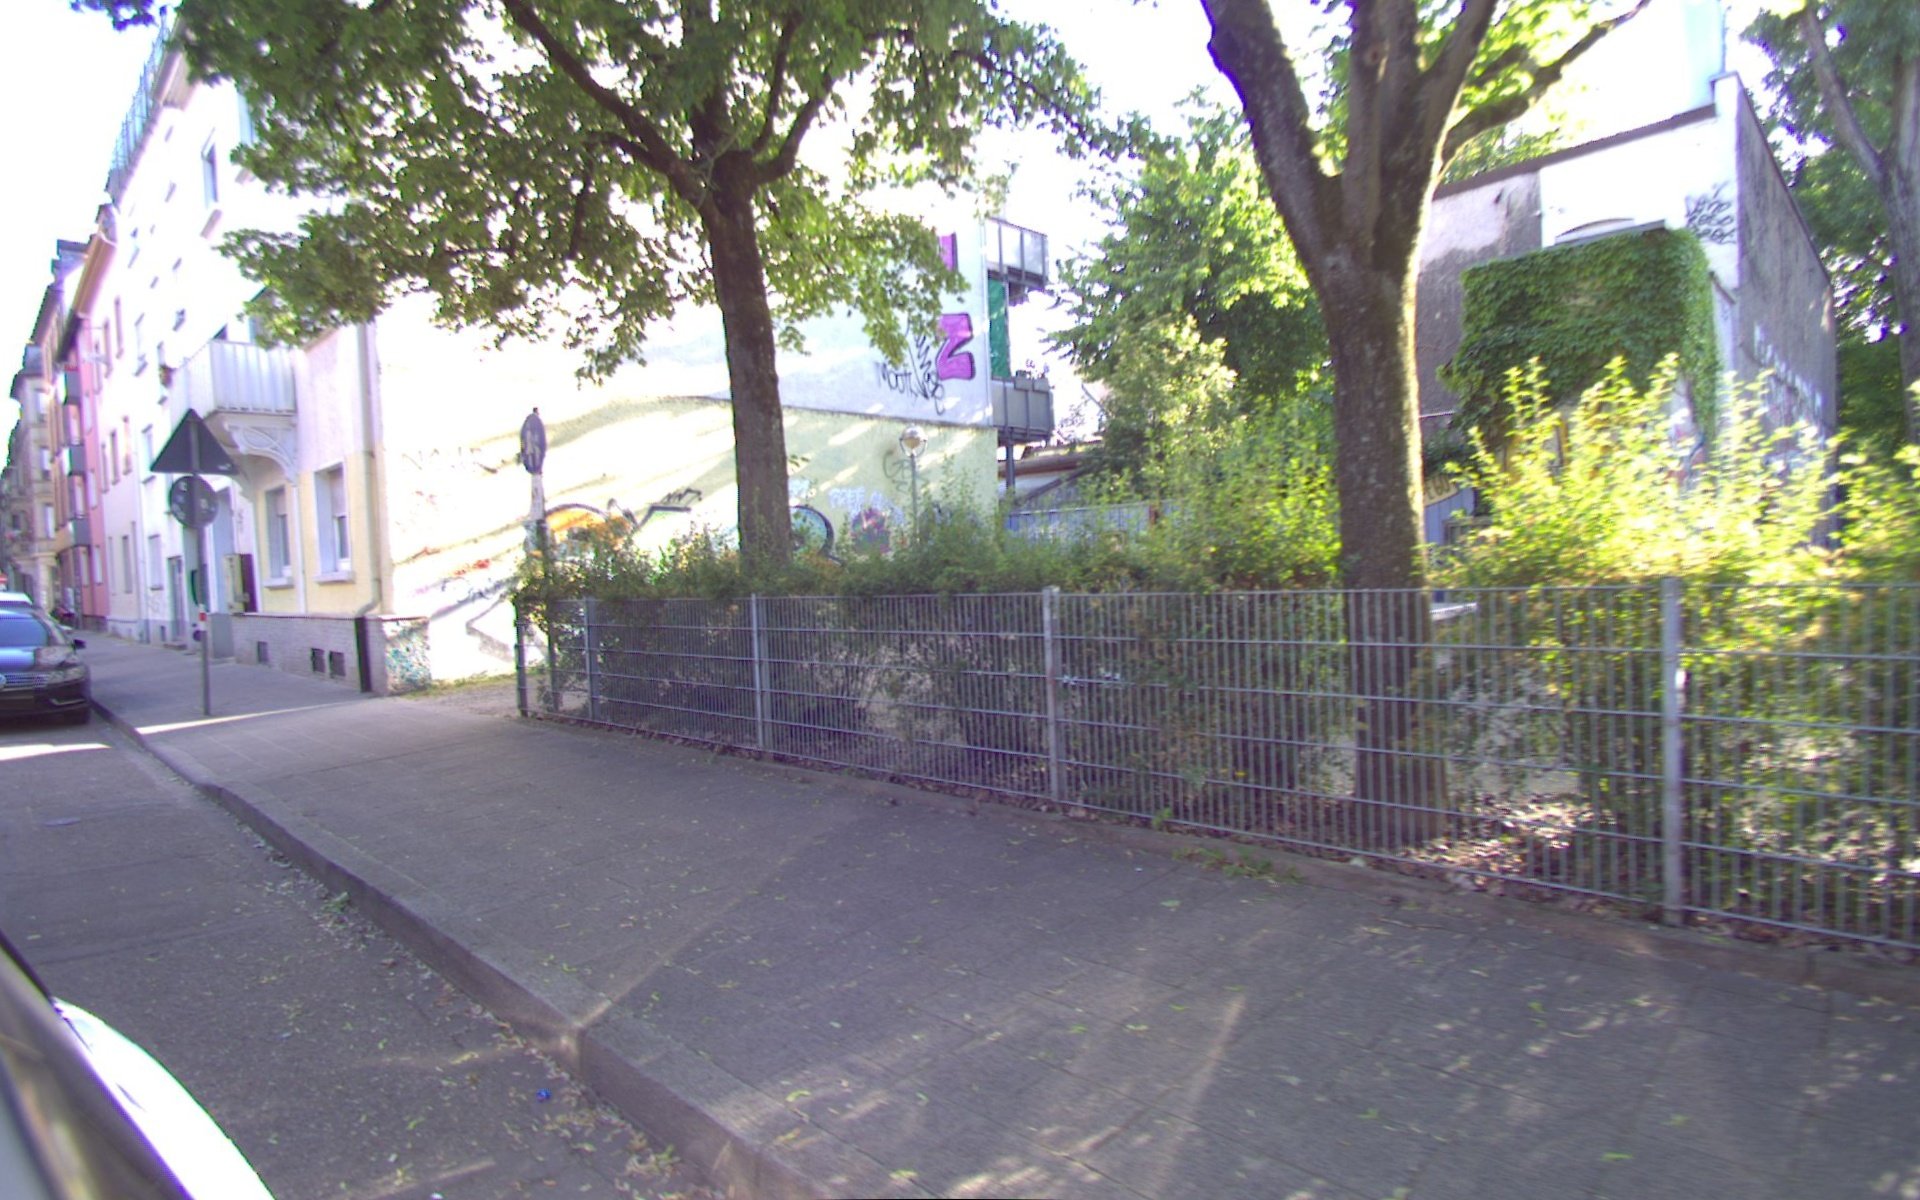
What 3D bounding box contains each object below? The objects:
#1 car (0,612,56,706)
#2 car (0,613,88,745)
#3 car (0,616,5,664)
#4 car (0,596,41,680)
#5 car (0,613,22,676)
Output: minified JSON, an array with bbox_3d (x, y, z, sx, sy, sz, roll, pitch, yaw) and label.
[{"bbox_3d":[-16.196,0.933,16.877,1.574,1.462,3.489,1,-1,-43],"label":"car"},{"bbox_3d":[-12.366,0.901,12.744,4.394,1.454,1.759,-1,-1,45],"label":"car"},{"bbox_3d":[-31.692,1.255,32.239,3.818,1.483,1.744,-1,-1,45],"label":"car"},{"bbox_3d":[-21.693,0.798,22.370,4.316,1.754,1.730,-1,-1,44],"label":"car"},{"bbox_3d":[-25.220,1.097,25.821,1.650,1.539,4.092,0,-1,-40],"label":"car"}]
